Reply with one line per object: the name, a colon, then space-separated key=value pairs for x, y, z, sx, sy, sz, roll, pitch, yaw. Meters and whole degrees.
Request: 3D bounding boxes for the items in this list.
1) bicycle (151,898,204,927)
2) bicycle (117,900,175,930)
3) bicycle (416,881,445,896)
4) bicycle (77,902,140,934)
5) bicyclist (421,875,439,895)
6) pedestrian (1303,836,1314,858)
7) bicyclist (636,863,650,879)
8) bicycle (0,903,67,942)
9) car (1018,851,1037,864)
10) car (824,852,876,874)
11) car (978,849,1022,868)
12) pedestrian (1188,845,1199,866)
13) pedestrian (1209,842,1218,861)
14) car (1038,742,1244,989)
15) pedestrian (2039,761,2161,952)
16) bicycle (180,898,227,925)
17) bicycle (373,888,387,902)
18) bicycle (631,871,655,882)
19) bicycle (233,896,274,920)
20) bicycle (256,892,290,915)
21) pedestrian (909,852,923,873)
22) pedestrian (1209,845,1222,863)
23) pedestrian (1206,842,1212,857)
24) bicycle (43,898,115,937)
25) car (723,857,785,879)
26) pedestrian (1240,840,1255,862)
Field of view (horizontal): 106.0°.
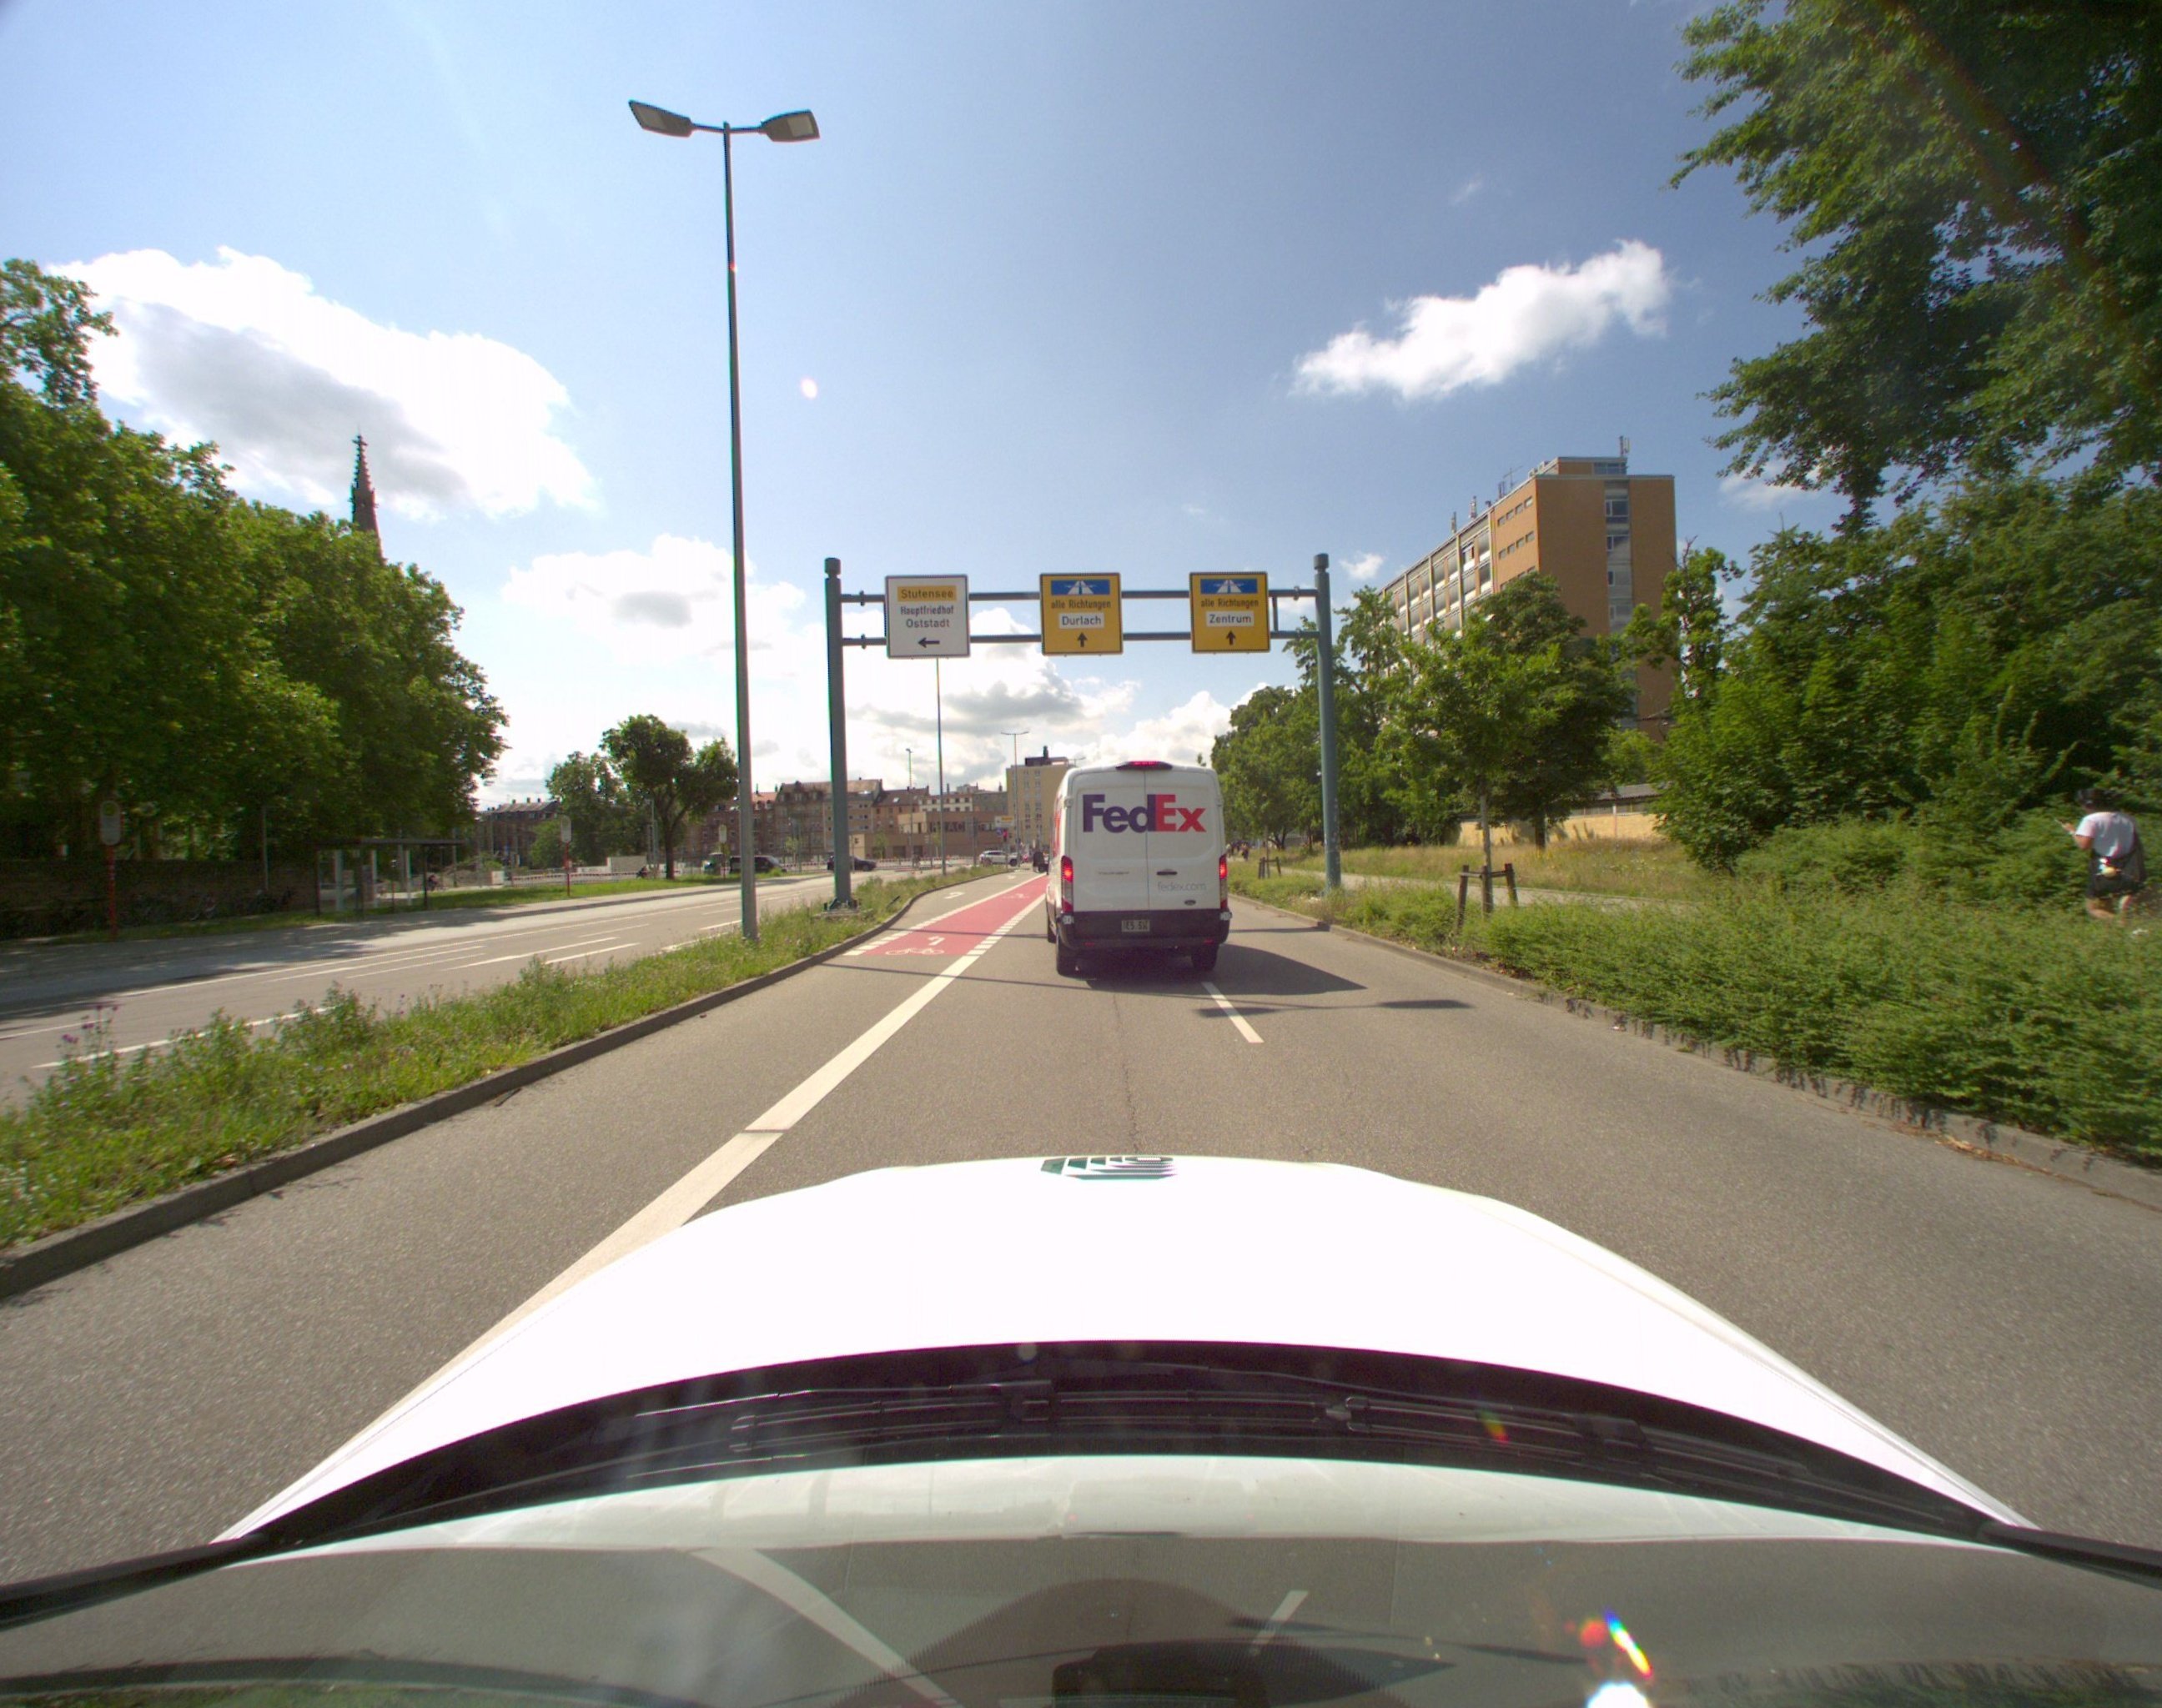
bicycle: x=-32.707 y=2.100 z=29.509 sx=0.545 sy=0.902 sz=1.654 roll=-2 pitch=0 yaw=-21
bicycle: x=-32.064 y=2.087 z=27.950 sx=0.545 sy=0.902 sz=1.654 roll=-2 pitch=0 yaw=-21
bicycle: x=-62.172 y=3.304 z=77.850 sx=2.062 sy=1.290 sz=0.603 roll=-2 pitch=0 yaw=-8
bicycle: x=-31.434 y=2.045 z=26.356 sx=0.545 sy=0.902 sz=1.654 roll=-2 pitch=0 yaw=-21
bicyclist: x=-62.241 y=2.939 z=77.844 sx=1.118 sy=1.844 sz=0.592 roll=-2 pitch=1 yaw=-7
pedestrian: x=21.942 y=-0.699 z=78.512 sx=0.837 sy=2.057 sz=0.745 roll=-2 pitch=0 yaw=28
bicyclist: x=-42.695 y=1.665 z=79.413 sx=0.967 sy=1.474 sz=0.550 roll=-2 pitch=0 yaw=-7
bicycle: x=-30.114 y=1.947 z=23.269 sx=0.545 sy=0.951 sz=1.656 roll=-2 pitch=0 yaw=-17
car: x=-7.533 y=0.484 z=115.369 sx=1.868 sy=1.652 sz=4.009 roll=-2 pitch=0 yaw=8
car: x=-23.363 y=0.890 z=82.590 sx=4.620 sy=2.013 sz=2.096 roll=-2 pitch=0 yaw=-5
car: x=-8.313 y=0.452 z=83.828 sx=4.349 sy=1.794 sz=1.997 roll=-2 pitch=0 yaw=-5
pedestrian: x=10.752 y=0.132 z=77.889 sx=0.947 sy=1.892 sz=0.773 roll=-2 pitch=0 yaw=0
pedestrian: x=13.766 y=-0.280 z=84.357 sx=0.671 sy=1.892 sz=0.579 roll=-2 pitch=0 yaw=44
car: x=0.526 y=0.101 z=11.860 sx=2.136 sy=2.652 sz=5.696 roll=-2 pitch=0 yaw=-4
pedestrian: x=9.927 y=0.015 z=7.736 sx=0.720 sy=1.721 sz=0.747 roll=-2 pitch=0 yaw=1
bicycle: x=-33.487 y=2.168 z=31.101 sx=0.453 sy=0.902 sz=1.782 roll=-2 pitch=0 yaw=-20
bicycle: x=-51.172 y=2.987 z=59.456 sx=1.644 sy=0.902 sz=0.549 roll=-2 pitch=0 yaw=42
bicycle: x=-42.703 y=2.199 z=79.408 sx=1.919 sy=1.030 sz=0.546 roll=-2 pitch=0 yaw=-8
bicycle: x=-34.881 y=2.276 z=34.351 sx=0.545 sy=0.902 sz=1.654 roll=-2 pitch=0 yaw=-21
bicycle: x=-35.876 y=2.178 z=36.169 sx=0.546 sy=0.902 sz=1.651 roll=-2 pitch=0 yaw=-25
pedestrian: x=-12.431 y=0.653 z=61.380 sx=0.879 sy=1.560 sz=0.549 roll=-2 pitch=0 yaw=-35
pedestrian: x=10.615 y=0.011 z=64.141 sx=0.842 sy=1.389 sz=0.741 roll=-2 pitch=0 yaw=0
pedestrian: x=16.146 y=-0.531 z=102.966 sx=0.572 sy=1.892 sz=0.679 roll=-2 pitch=0 yaw=0
bicycle: x=-30.589 y=1.924 z=24.887 sx=0.545 sy=1.051 sz=1.614 roll=-2 pitch=0 yaw=-17
car: x=-30.848 y=1.338 z=77.044 sx=4.998 sy=1.878 sz=1.926 roll=-2 pitch=1 yaw=-4
pedestrian: x=11.684 y=-0.209 z=57.120 sx=0.842 sy=1.539 sz=0.835 roll=-2 pitch=0 yaw=0
